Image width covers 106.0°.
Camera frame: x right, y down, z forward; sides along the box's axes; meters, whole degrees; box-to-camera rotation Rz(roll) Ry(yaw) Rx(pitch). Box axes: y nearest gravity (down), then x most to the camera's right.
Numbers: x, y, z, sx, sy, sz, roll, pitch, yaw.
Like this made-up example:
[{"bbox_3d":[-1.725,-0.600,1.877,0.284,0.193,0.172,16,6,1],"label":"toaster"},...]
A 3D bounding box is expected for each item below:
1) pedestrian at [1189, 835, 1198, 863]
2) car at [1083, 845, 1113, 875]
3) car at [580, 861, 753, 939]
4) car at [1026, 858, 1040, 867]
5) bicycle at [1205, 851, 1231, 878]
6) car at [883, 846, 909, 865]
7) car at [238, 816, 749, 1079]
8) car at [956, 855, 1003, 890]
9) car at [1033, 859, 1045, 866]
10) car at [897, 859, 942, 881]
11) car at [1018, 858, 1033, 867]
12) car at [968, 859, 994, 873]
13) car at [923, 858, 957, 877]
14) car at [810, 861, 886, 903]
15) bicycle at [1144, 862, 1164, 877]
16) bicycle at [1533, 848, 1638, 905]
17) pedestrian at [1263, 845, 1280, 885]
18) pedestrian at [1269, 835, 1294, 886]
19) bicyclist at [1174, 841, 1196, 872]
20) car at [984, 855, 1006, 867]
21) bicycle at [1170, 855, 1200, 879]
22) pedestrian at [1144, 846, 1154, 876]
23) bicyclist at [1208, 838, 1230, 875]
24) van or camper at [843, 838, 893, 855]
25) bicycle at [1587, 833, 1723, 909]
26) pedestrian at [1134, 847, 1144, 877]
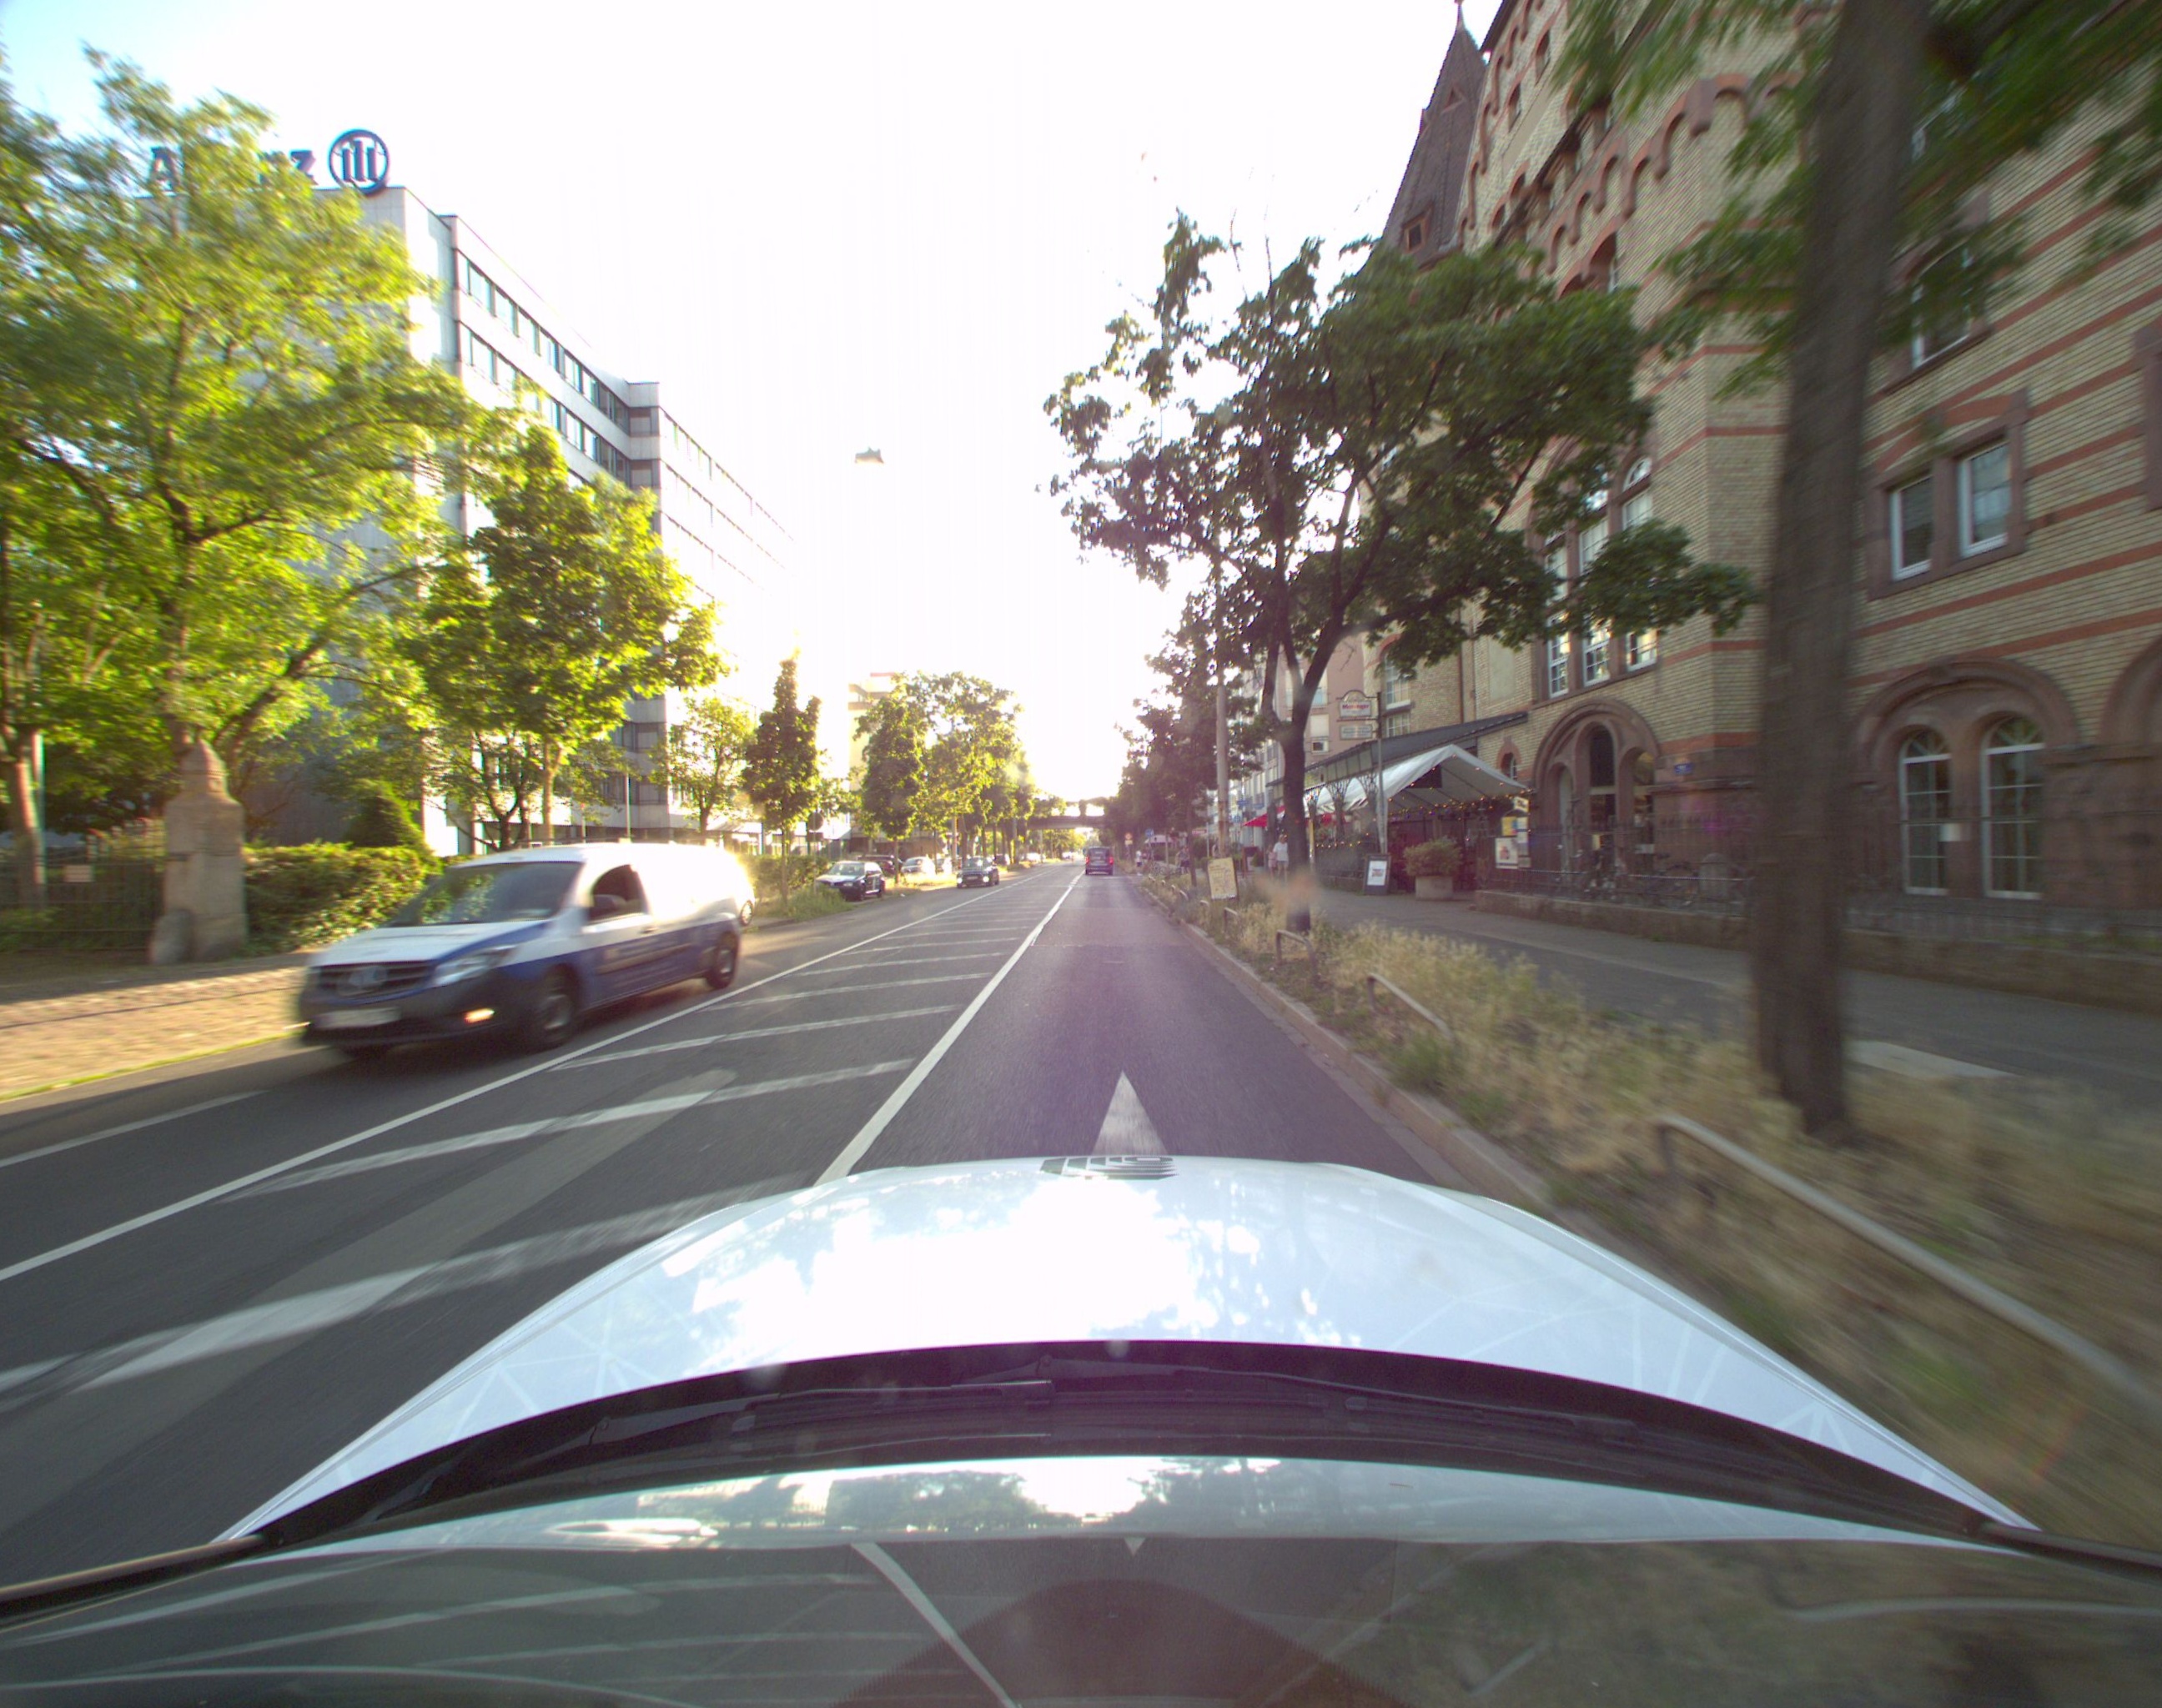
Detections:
[{"bbox_3d":[10.277,-0.451,74.571,0.713,2.539,0.824,0,0,1],"label":"pedestrian"},{"bbox_3d":[1.187,0.392,55.788,1.880,1.925,3.841,-2,0,2],"label":"car"},{"bbox_3d":[-8.780,0.901,17.674,1.691,1.451,4.000,0,0,0],"label":"car"},{"bbox_3d":[-8.459,1.487,143.785,1.986,1.414,4.238,0,0,1],"label":"car"},{"bbox_3d":[4.626,0.341,27.604,0.577,0.897,1.988,0,0,2],"label":"bicycle"},{"bbox_3d":[-23.070,0.203,101.674,1.986,2.307,5.246,0,0,1],"label":"car"},{"bbox_3d":[-5.241,0.689,8.242,1.827,1.852,4.473,-3,0,0],"label":"car"},{"bbox_3d":[-4.984,0.880,40.346,1.673,1.530,4.001,-3,0,1],"label":"car"},{"bbox_3d":[-8.373,1.657,161.895,1.986,1.414,4.238,0,0,1],"label":"car"},{"bbox_3d":[-10.237,1.014,51.888,1.986,1.310,4.067,0,0,1],"label":"car"},{"bbox_3d":[-8.781,1.348,129.880,1.986,1.414,4.238,0,0,1],"label":"car"},{"bbox_3d":[-10.035,1.191,82.059,1.986,1.414,4.238,0,0,1],"label":"car"},{"bbox_3d":[-10.122,0.957,58.803,1.665,1.314,3.966,0,0,1],"label":"car"},{"bbox_3d":[-8.552,0.987,30.204,1.632,1.385,4.000,0,0,0],"label":"car"},{"bbox_3d":[4.689,0.991,52.468,0.590,0.897,1.975,0,0,-18],"label":"bicycle"},{"bbox_3d":[8.496,0.372,13.747,1.439,0.946,0.535,0,0,2],"label":"bicycle"},{"bbox_3d":[6.478,0.355,27.739,0.465,1.350,0.530,0,0,1],"label":"pedestrian"},{"bbox_3d":[6.443,0.215,26.221,0.642,1.633,0.656,0,0,1],"label":"pedestrian"},{"bbox_3d":[5.376,0.115,41.969,0.744,1.558,0.944,0,0,40],"label":"bicyclist"},{"bbox_3d":[-10.092,0.801,96.066,1.986,1.414,4.238,0,0,1],"label":"car"},{"bbox_3d":[5.355,0.648,41.963,0.541,1.226,1.999,0,0,40],"label":"bicycle"},{"bbox_3d":[4.306,0.428,51.674,0.505,1.889,0.543,0,0,-14],"label":"pedestrian"},{"bbox_3d":[4.664,0.075,27.610,0.583,1.236,1.112,0,0,1],"label":"bicyclist"},{"bbox_3d":[-31.255,-1.105,119.640,6.543,2.522,2.448,0,0,-1],"label":"van or camper"},{"bbox_3d":[8.794,0.261,12.511,1.727,1.137,0.493,0,0,2],"label":"bicycle"},{"bbox_3d":[3.702,0.496,52.111,0.505,1.889,0.543,0,0,-14],"label":"pedestrian"}]
